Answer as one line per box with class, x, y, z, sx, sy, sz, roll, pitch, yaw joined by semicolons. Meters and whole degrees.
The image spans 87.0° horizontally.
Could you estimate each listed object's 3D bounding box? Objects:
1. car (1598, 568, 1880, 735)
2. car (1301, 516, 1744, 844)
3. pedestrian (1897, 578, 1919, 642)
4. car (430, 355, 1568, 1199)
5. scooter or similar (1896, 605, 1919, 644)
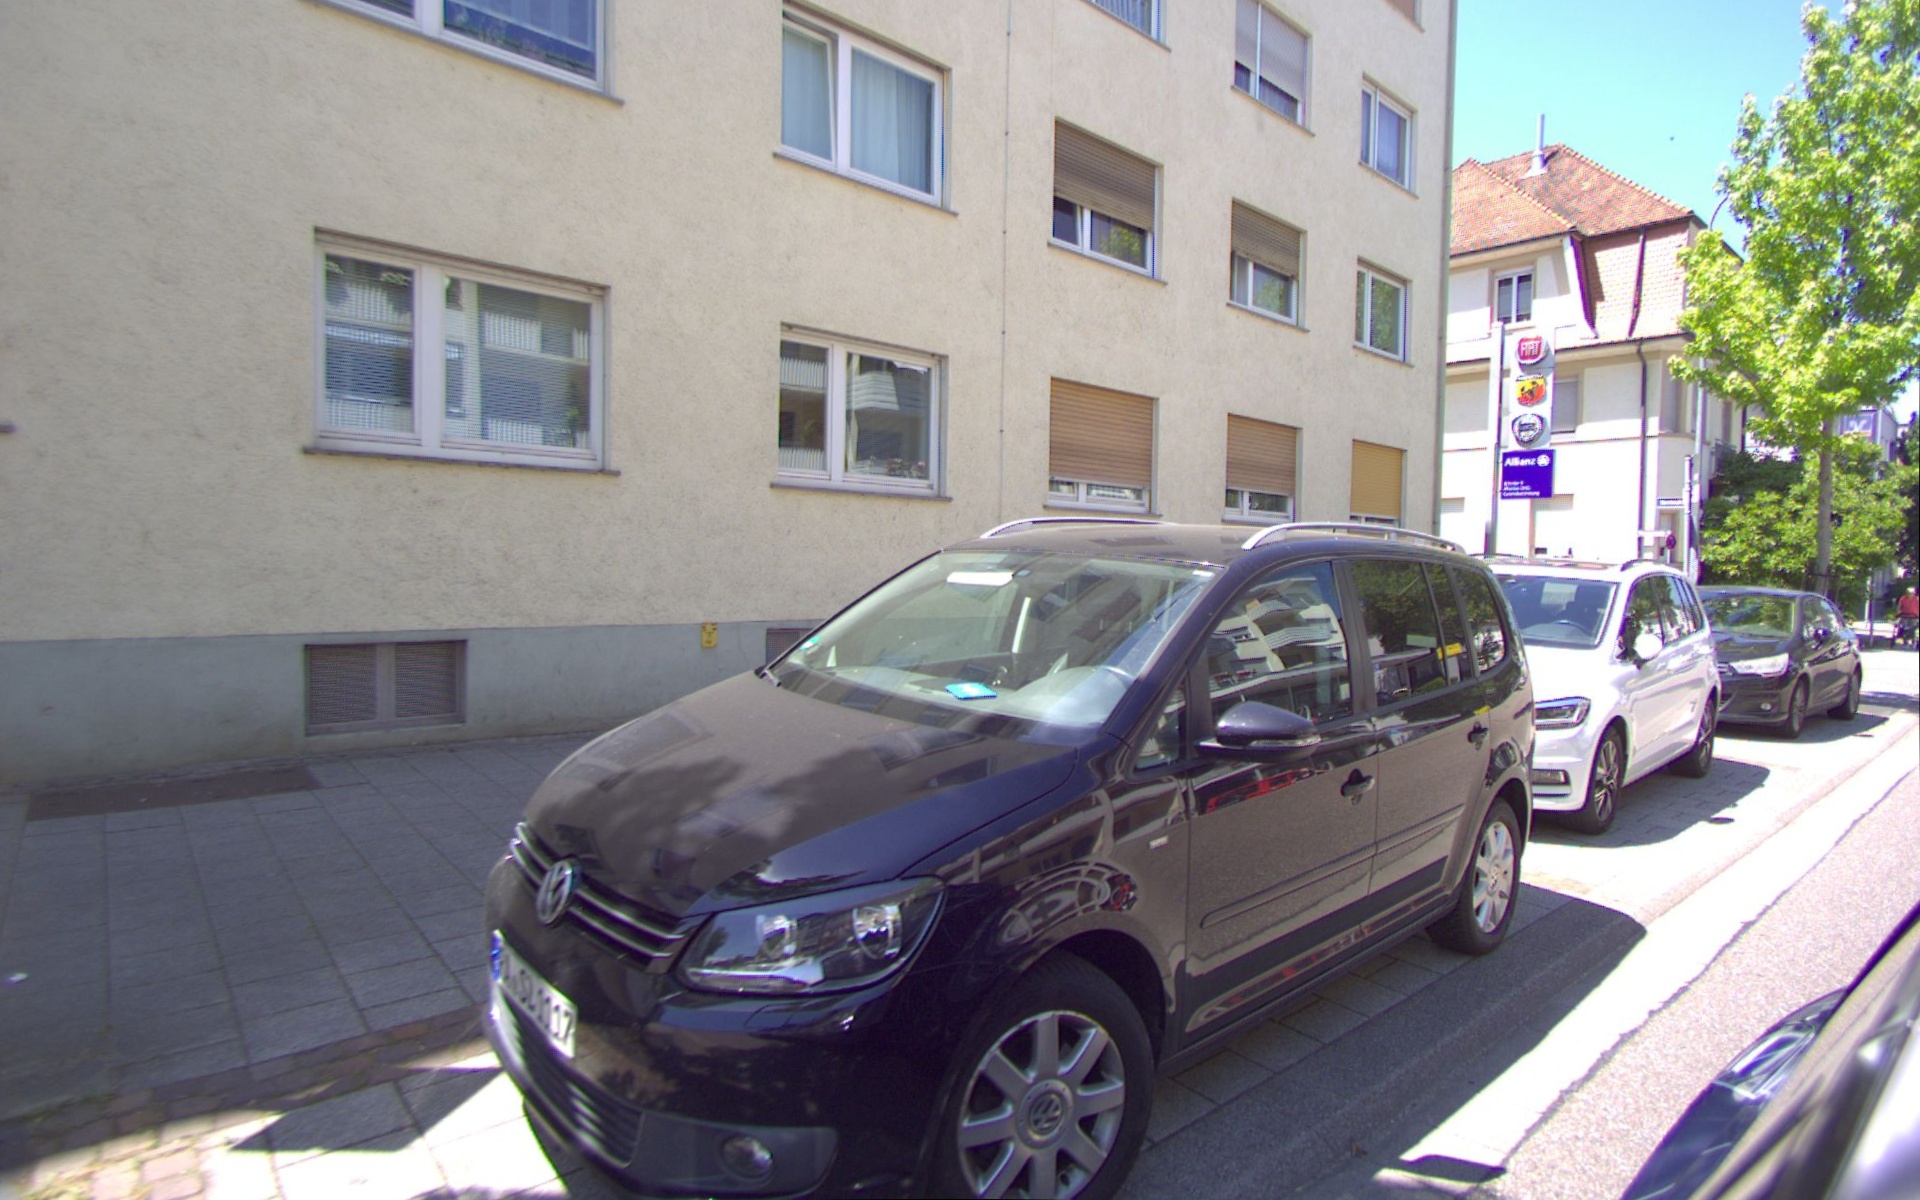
car;8.784;0.452;11.287;4.061;1.506;1.692;0;2;-41
car;4.288;0.390;7.404;4.065;1.743;1.690;0;2;-44
pedestrian;24.730;0.244;26.180;0.723;1.626;0.624;0;1;-43
car;0.547;0.427;3.554;3.934;1.742;1.691;0;4;-44
scooter or similar;24.174;0.624;25.628;0.723;0.943;0.624;0;2;-43
